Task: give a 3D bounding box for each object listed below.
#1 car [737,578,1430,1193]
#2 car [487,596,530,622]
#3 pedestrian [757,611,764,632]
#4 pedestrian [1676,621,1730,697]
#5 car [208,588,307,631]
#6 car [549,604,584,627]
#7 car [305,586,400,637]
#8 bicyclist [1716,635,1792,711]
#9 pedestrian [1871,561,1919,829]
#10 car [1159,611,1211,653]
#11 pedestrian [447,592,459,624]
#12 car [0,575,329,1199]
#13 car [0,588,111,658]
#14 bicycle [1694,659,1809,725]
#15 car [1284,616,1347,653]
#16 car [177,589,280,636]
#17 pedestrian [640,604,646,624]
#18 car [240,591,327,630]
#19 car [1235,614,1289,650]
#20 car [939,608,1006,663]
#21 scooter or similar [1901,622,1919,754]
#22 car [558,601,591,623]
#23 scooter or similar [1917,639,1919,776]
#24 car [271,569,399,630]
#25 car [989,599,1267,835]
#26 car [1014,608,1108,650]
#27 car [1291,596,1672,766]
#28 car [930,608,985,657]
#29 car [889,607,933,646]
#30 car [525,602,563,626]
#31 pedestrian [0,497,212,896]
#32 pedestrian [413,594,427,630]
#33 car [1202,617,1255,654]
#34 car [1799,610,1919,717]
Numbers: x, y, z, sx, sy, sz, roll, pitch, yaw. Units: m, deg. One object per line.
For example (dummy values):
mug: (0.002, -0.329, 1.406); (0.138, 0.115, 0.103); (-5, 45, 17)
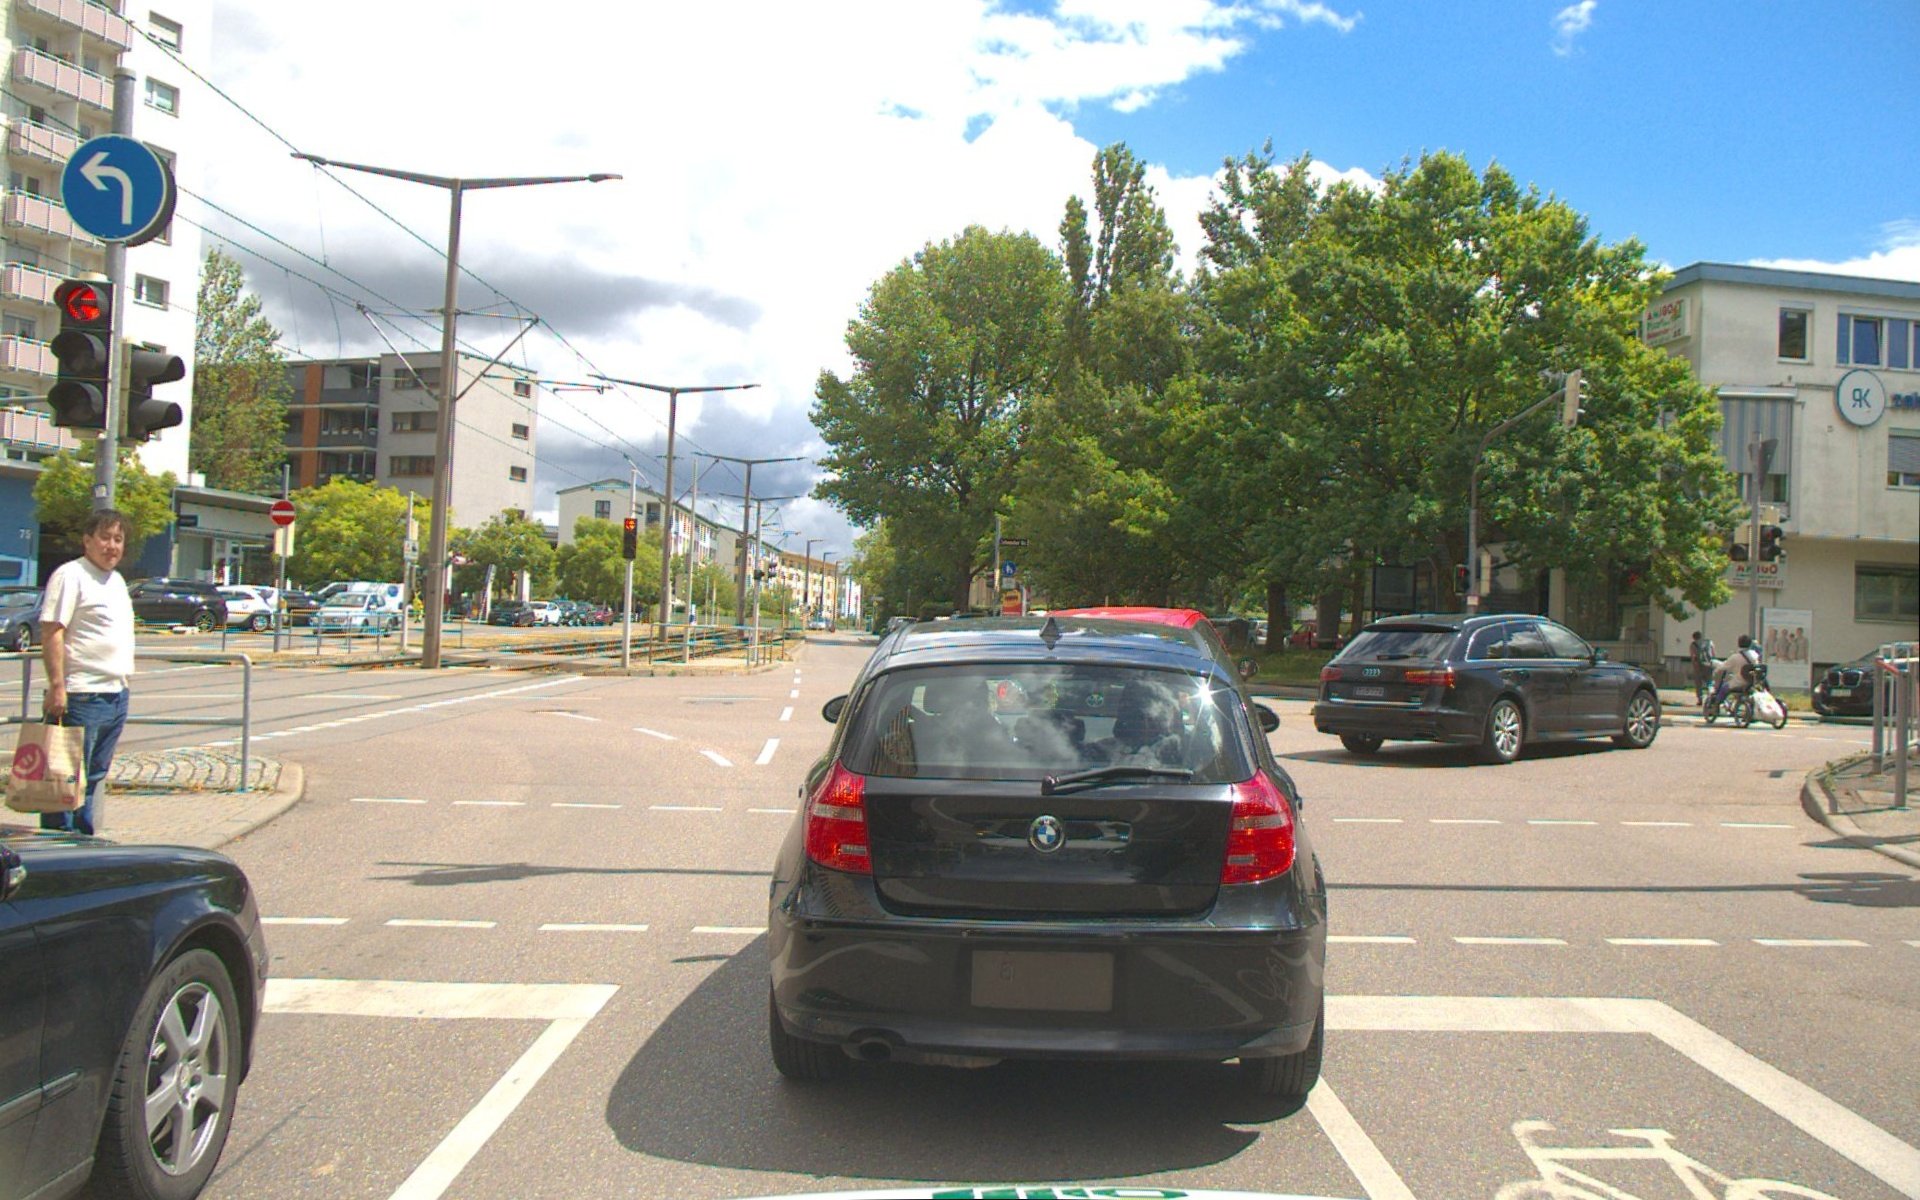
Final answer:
car: (0.293, 0.716, 6.172); (1.717, 1.513, 3.999); (1, 0, -1)
car: (-25.367, 0.495, 93.032); (1.728, 1.419, 3.994); (1, 0, -7)
pedestrian: (-15.790, 1.682, 130.641); (0.469, 1.665, 0.454); (1, 0, -2)
pedestrian: (16.629, 1.314, 37.022); (0.898, 1.672, 0.760); (2, 0, -39)
car: (-26.909, 0.361, 63.290); (4.144, 1.564, 1.949); (1, 0, 43)
car: (-25.456, 0.969, 107.190); (1.728, 1.419, 3.994); (1, 0, -7)
car: (-21.389, 0.391, 58.367); (1.897, 1.722, 3.872); (1, 0, -1)
bicyclist: (11.455, 1.044, 23.880); (0.775, 1.040, 0.636); (2, 0, -1)
pedestrian: (6.599, 0.604, 10.818); (0.932, 1.703, 0.871); (0, 0, 14)
car: (10.423, 1.476, 76.881); (1.598, 1.842, 4.029); (1, 0, -4)
pedestrian: (-28.283, 0.446, 92.247); (0.537, 1.746, 0.404); (1, 0, -11)
car: (-2.580, 0.680, 2.265); (1.693, 1.487, 4.543); (1, 0, -1)
car: (-20.347, 0.472, 35.965); (1.602, 1.424, 4.491); (2, -1, -3)
bicycle: (11.449, 1.319, 23.998); (0.775, 0.833, 1.807); (2, 0, -1)
car: (17.075, 1.645, 79.604); (1.698, 1.623, 3.993); (1, 0, -8)
car: (-26.560, 0.455, 60.003); (4.144, 1.597, 1.949); (1, 0, 43)
pedestrian: (-26.418, 1.192, 137.891); (0.444, 1.665, 0.480); (1, 0, -3)
car: (-27.187, 0.420, 66.390); (1.777, 1.445, 4.148); (1, 0, -45)
car: (14.434, 1.498, 79.179); (1.598, 1.623, 3.997); (1, 0, -4)
car: (0.378, 1.152, 54.204); (2.108, 1.713, 3.999); (1, -1, -1)
scooter or similar: (9.216, 0.820, 14.940); (1.338, 1.176, 0.539); (3, 0, -26)
car: (-25.997, 0.816, 111.749); (1.728, 1.419, 3.994); (1, 0, -7)
scooter or similar: (8.407, 0.793, 13.121); (1.315, 1.299, 0.462); (1, 1, 6)
car: (-27.085, -0.048, 71.550); (2.810, 2.522, 6.614); (1, 0, -44)
car: (1.359, 0.748, 12.256); (1.509, 1.466, 3.198); (1, 0, 15)
car: (4.645, 1.333, 75.772); (3.933, 1.855, 1.766); (1, 0, -23)
car: (5.678, 0.789, 17.705); (4.484, 1.581, 1.969); (1, -1, -43)
car: (-0.098, 1.207, 61.644); (1.953, 1.713, 3.999); (1, -1, -1)
car: (-2.249, 1.213, 77.060); (1.953, 1.713, 3.999); (1, 0, -1)
car: (-25.283, 0.834, 100.613); (1.728, 1.419, 3.994); (1, 0, -7)
pedestrian: (-4.239, 0.447, 8.034); (0.851, 1.839, 0.741); (1, 0, -5)
pedestrian: (-26.251, 0.566, 80.421); (0.537, 1.746, 0.667); (1, 0, -10)
car: (12.584, 1.659, 77.735); (1.598, 1.600, 4.029); (1, 0, -4)
car: (17.170, 1.093, 28.524); (4.472, 1.747, 1.997); (1, 0, -8)
